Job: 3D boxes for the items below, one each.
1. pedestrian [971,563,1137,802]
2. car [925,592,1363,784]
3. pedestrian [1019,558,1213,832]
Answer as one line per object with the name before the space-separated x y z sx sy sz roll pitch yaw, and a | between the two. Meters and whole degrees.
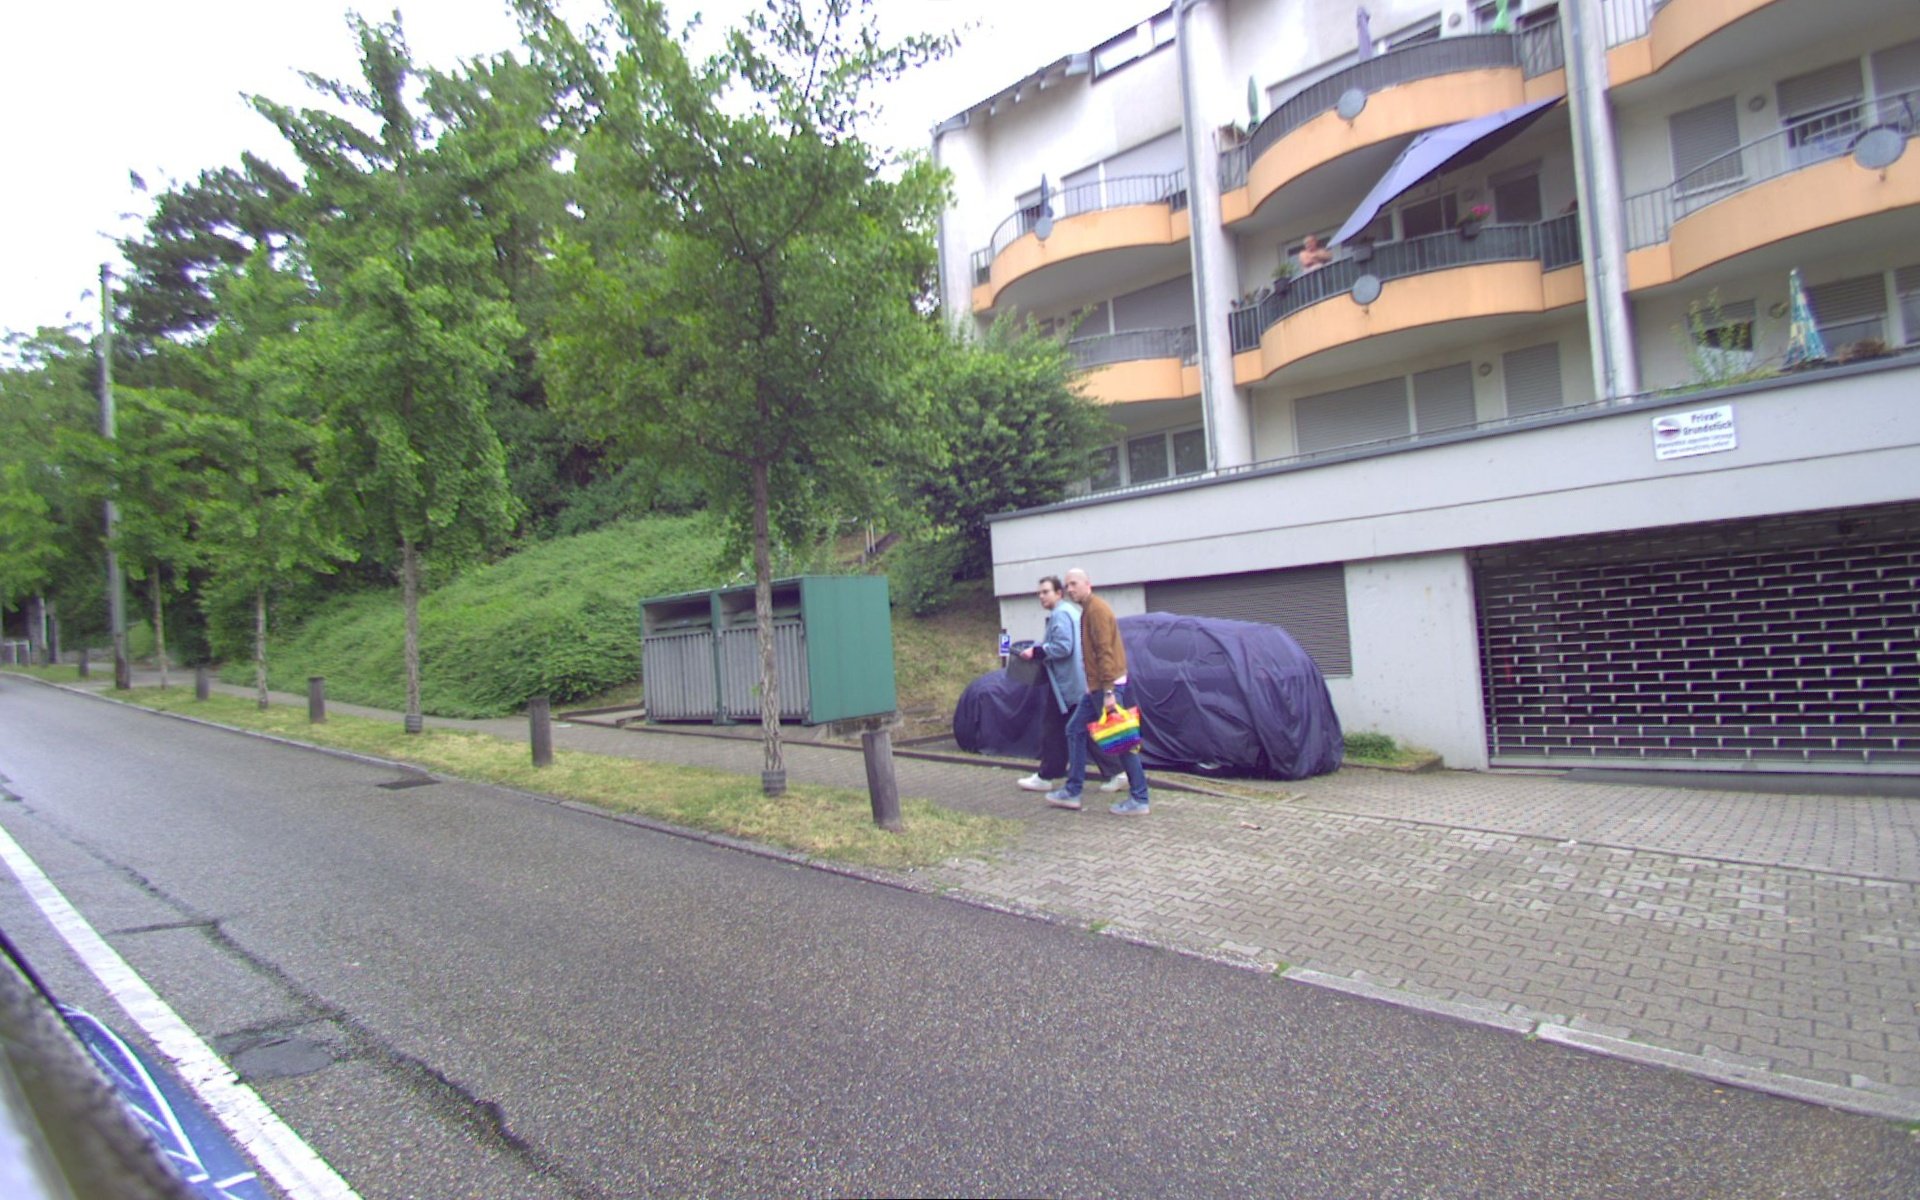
pedestrian | 0.773 0.619 8.213 1.067 1.795 0.817 -2 1 26
car | 1.745 0.820 10.364 4.096 1.573 1.759 -2 -4 41
pedestrian | 1.125 0.620 7.307 1.073 1.795 0.813 -1 2 40
